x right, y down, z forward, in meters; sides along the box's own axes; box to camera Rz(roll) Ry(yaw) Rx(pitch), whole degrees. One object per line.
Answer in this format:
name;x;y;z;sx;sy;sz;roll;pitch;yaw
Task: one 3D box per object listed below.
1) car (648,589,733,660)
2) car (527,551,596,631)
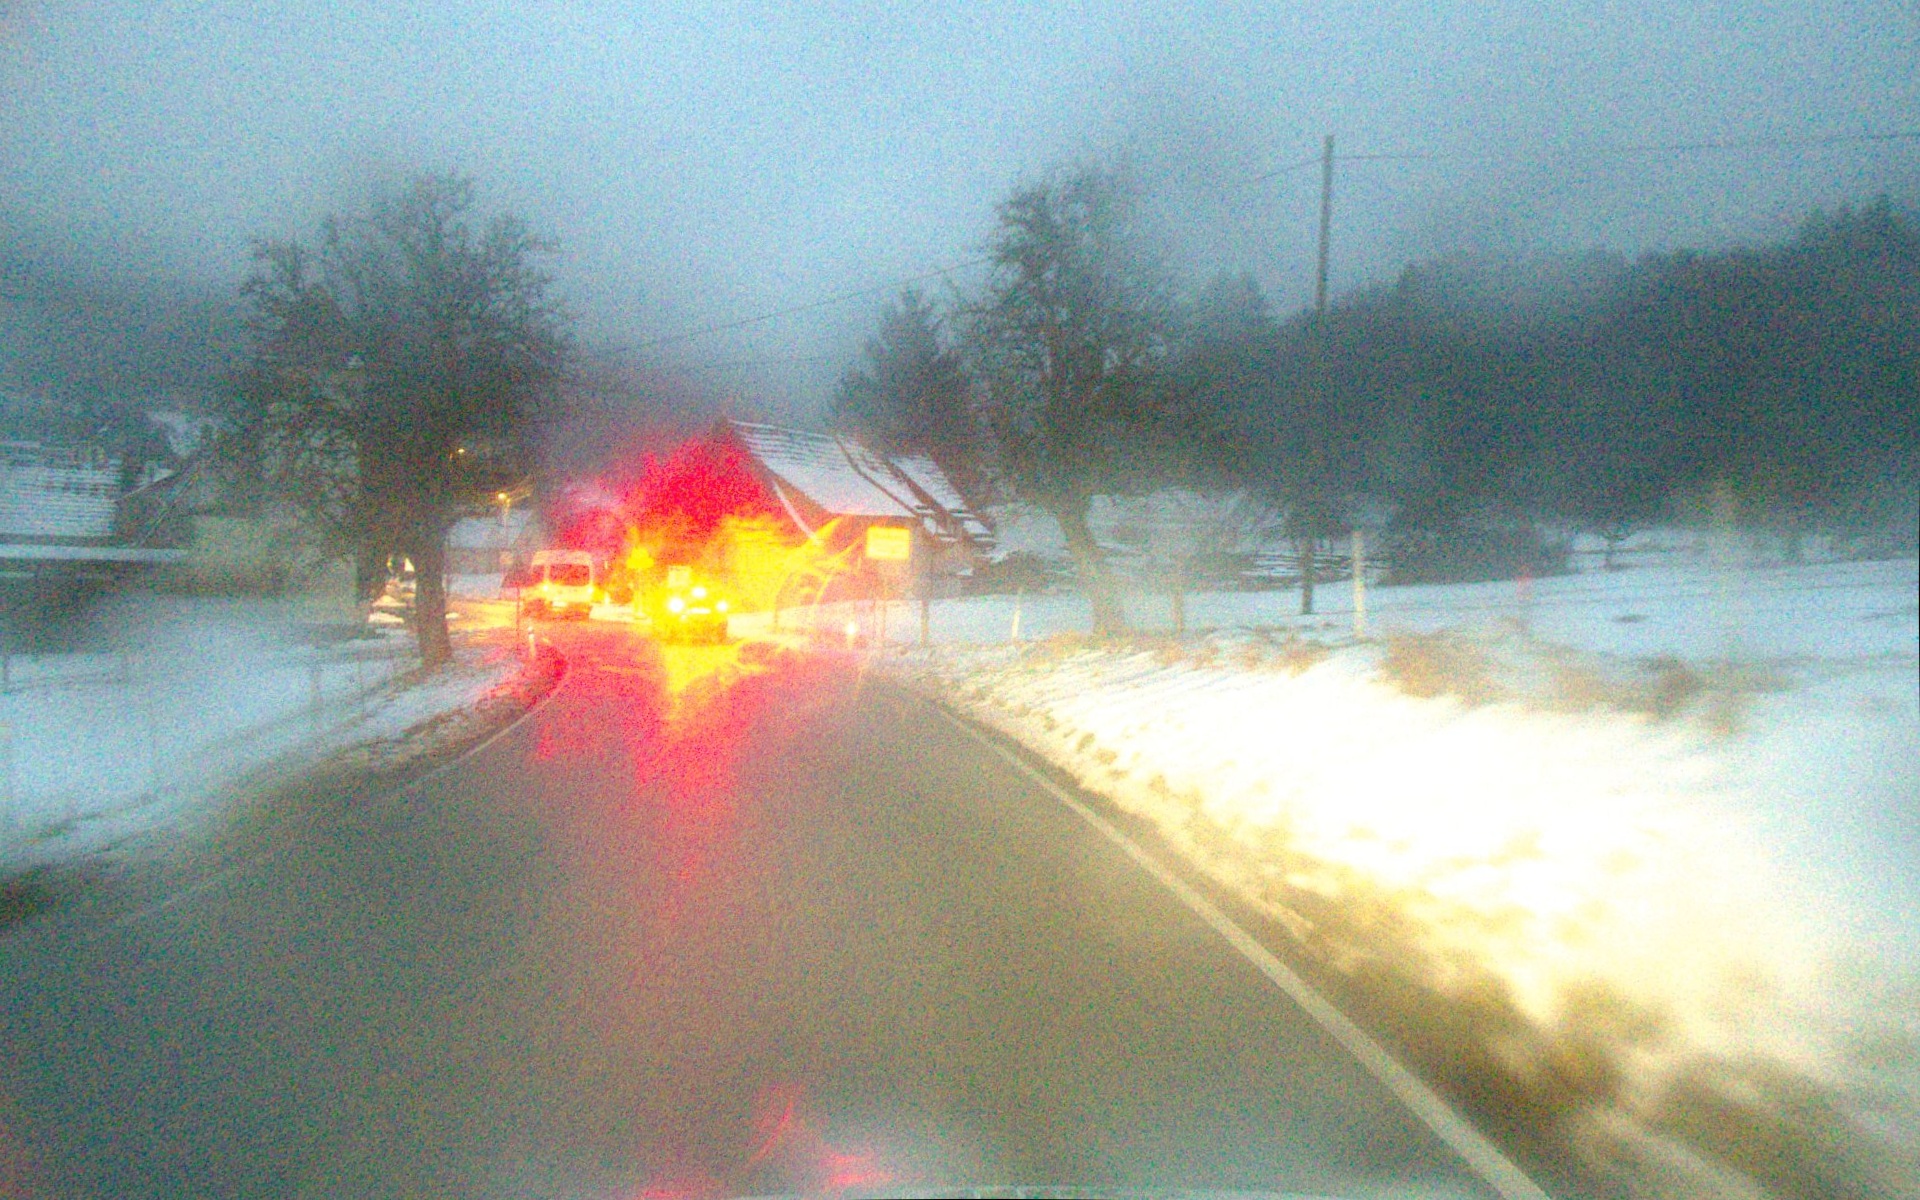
car;-7.745;0.663;47.161;2.233;1.873;4.993;-1;0;-11
car;-15.965;-0.322;66.535;2.391;3.071;5.311;0;-1;-10
